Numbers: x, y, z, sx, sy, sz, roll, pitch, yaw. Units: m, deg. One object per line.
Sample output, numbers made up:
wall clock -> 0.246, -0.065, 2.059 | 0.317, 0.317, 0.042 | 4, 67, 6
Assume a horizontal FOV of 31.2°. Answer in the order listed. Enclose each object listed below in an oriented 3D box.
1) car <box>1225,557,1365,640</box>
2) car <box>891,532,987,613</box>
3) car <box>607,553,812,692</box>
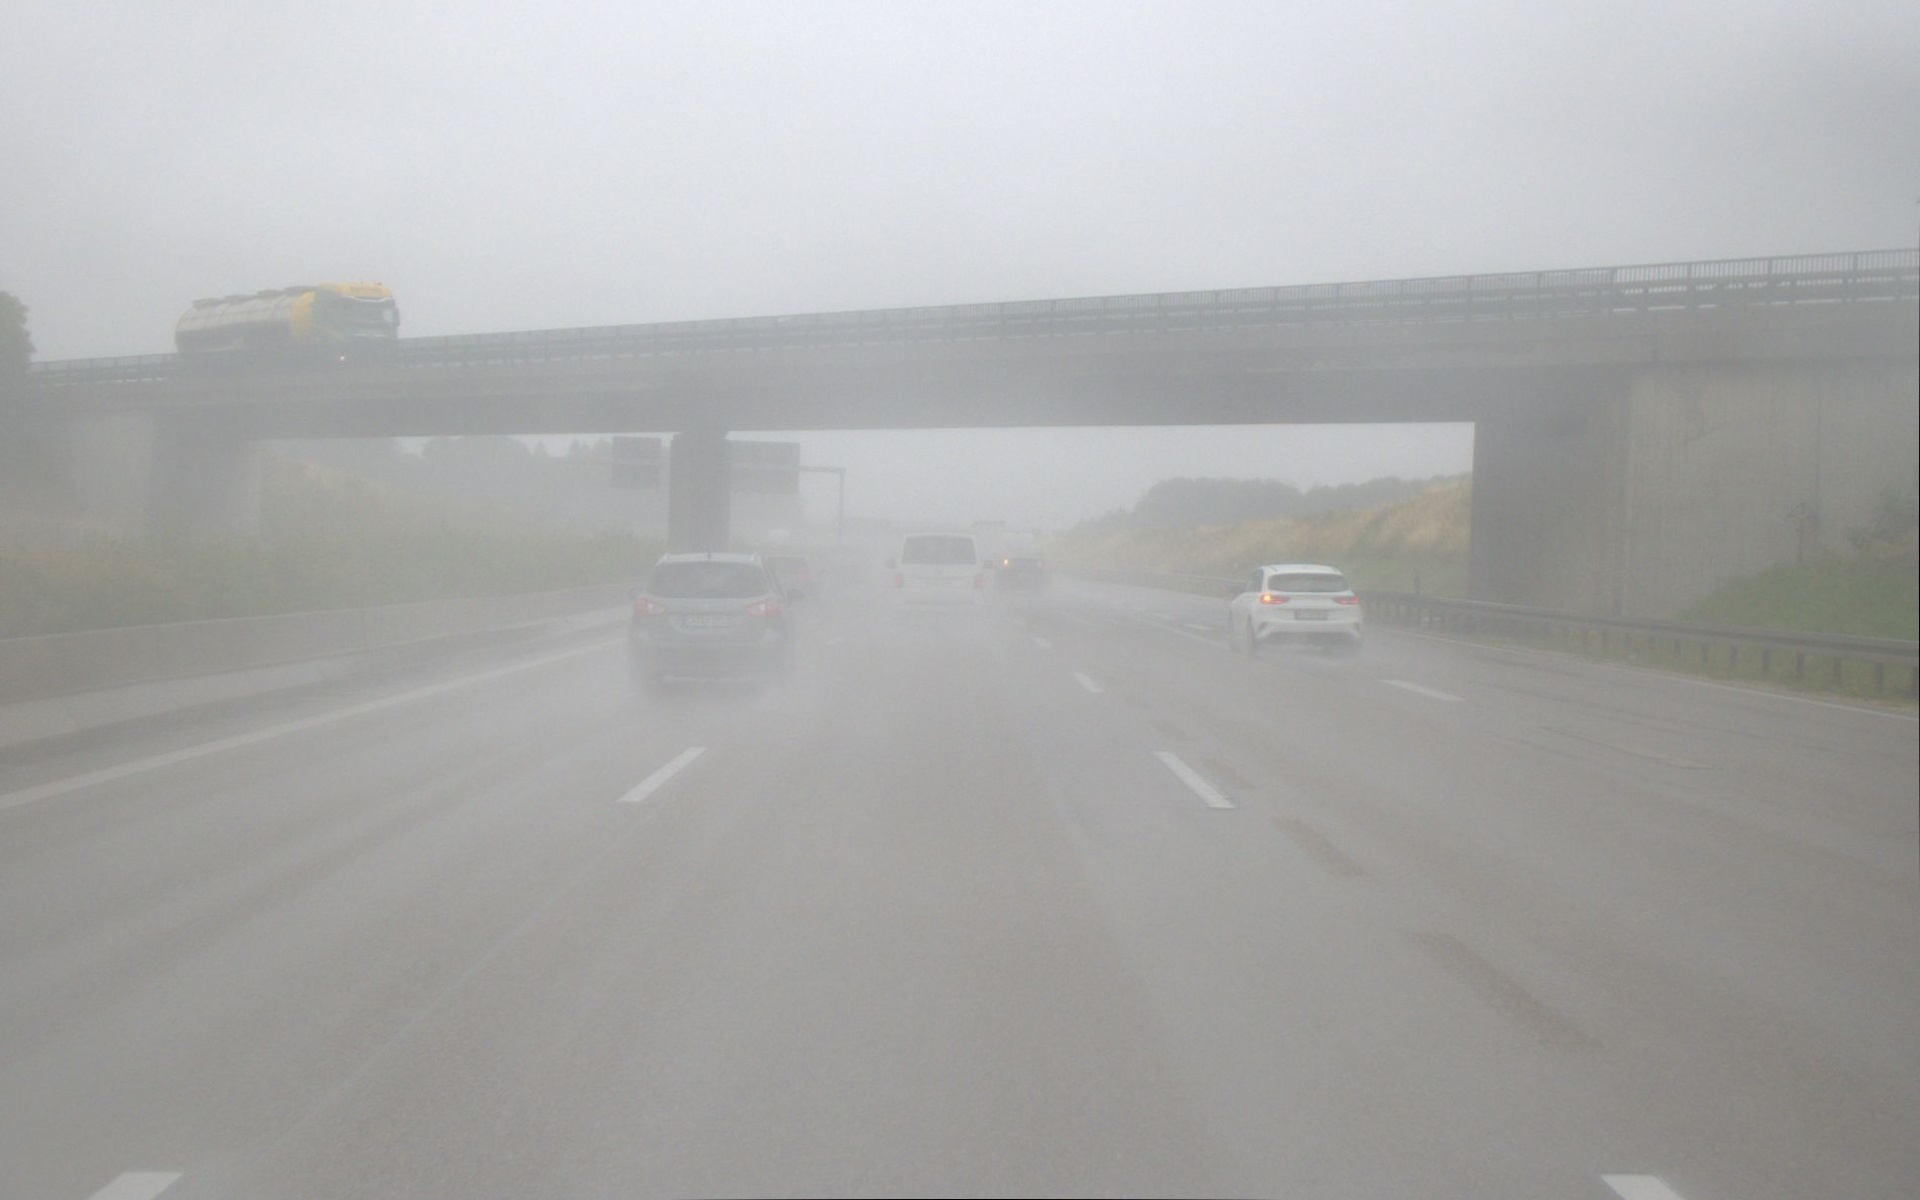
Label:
car -> 5.432, -0.030, 56.115 | 1.993, 1.262, 4.000 | 1, 0, 2
car -> -0.413, -0.556, 70.836 | 1.897, 1.580, 4.000 | 1, 0, 0
car -> -2.842, 0.223, 39.961 | 1.846, 1.508, 4.756 | 1, 0, 2
